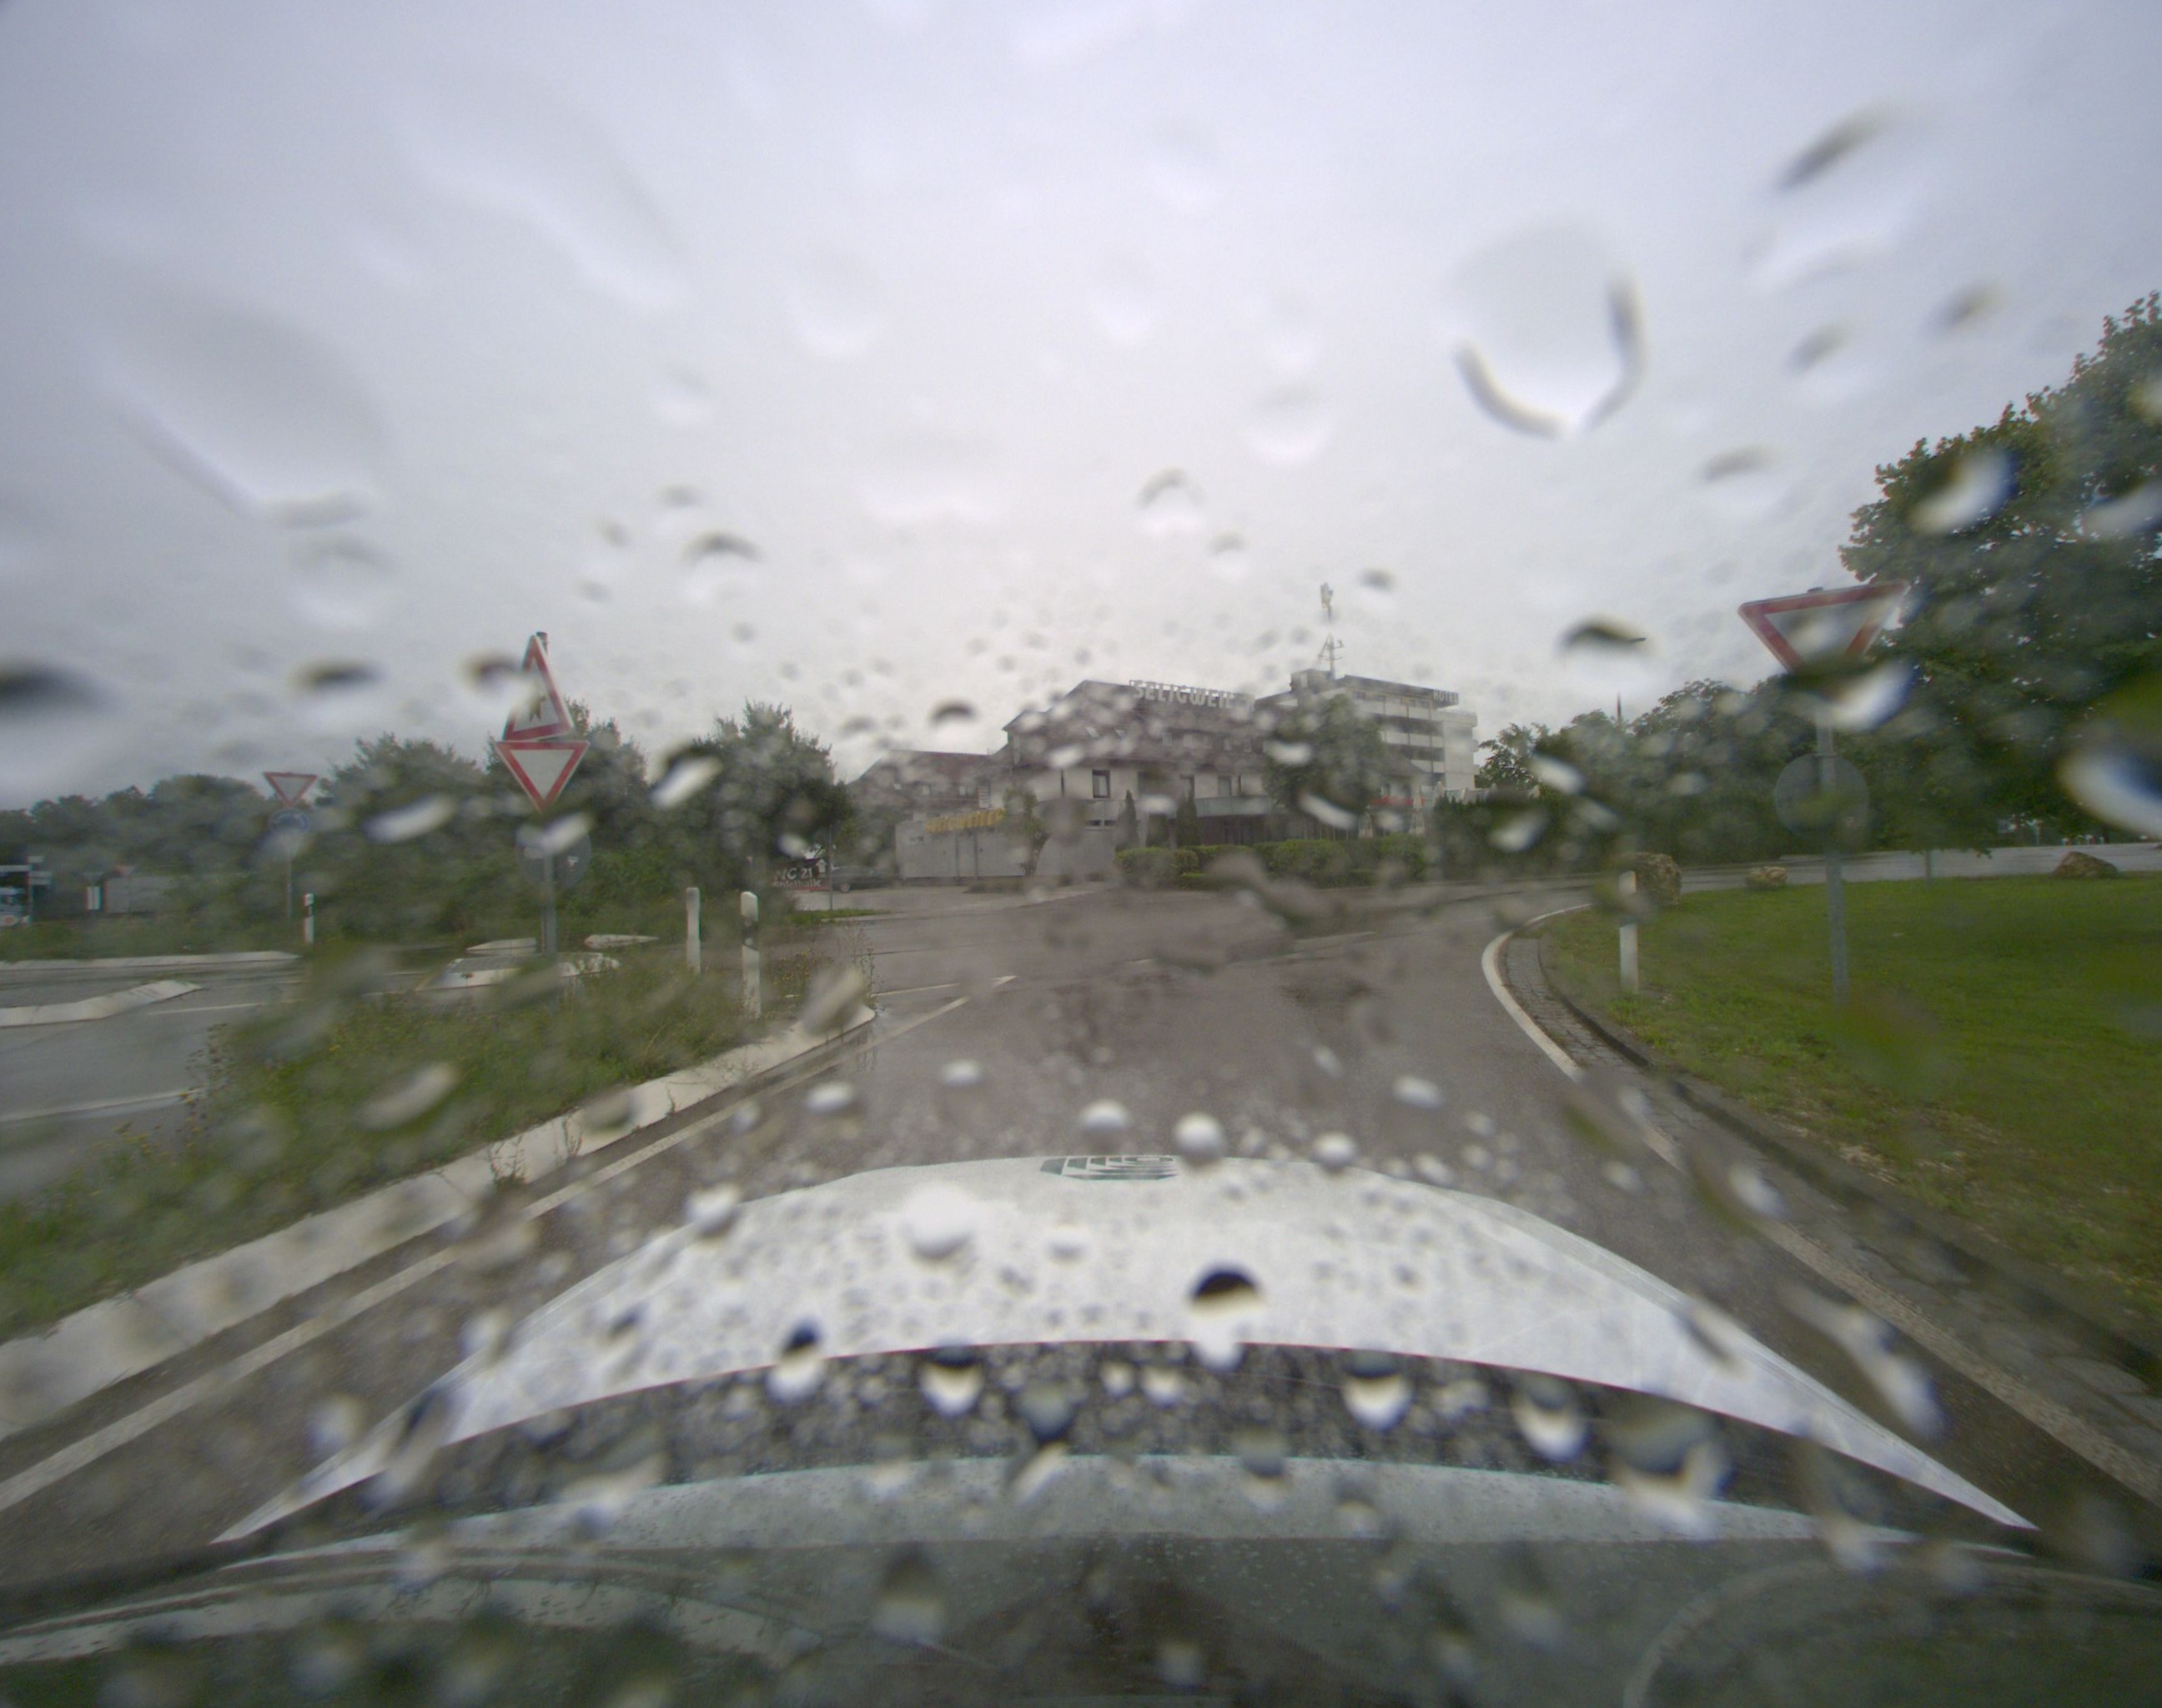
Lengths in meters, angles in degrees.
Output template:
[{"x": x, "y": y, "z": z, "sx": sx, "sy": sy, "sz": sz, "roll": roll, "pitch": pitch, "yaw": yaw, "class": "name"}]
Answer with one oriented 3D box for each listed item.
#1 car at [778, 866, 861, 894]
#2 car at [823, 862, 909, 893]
[{"x": -15.697, "y": 1.559, "z": 49.036, "sx": 4.379, "sy": 1.425, "sz": 1.830, "roll": -3, "pitch": -1, "yaw": -36, "class": "car"}, {"x": -11.909, "y": 1.294, "z": 45.107, "sx": 4.364, "sy": 1.425, "sz": 1.693, "roll": -3, "pitch": 0, "yaw": -22, "class": "car"}]
